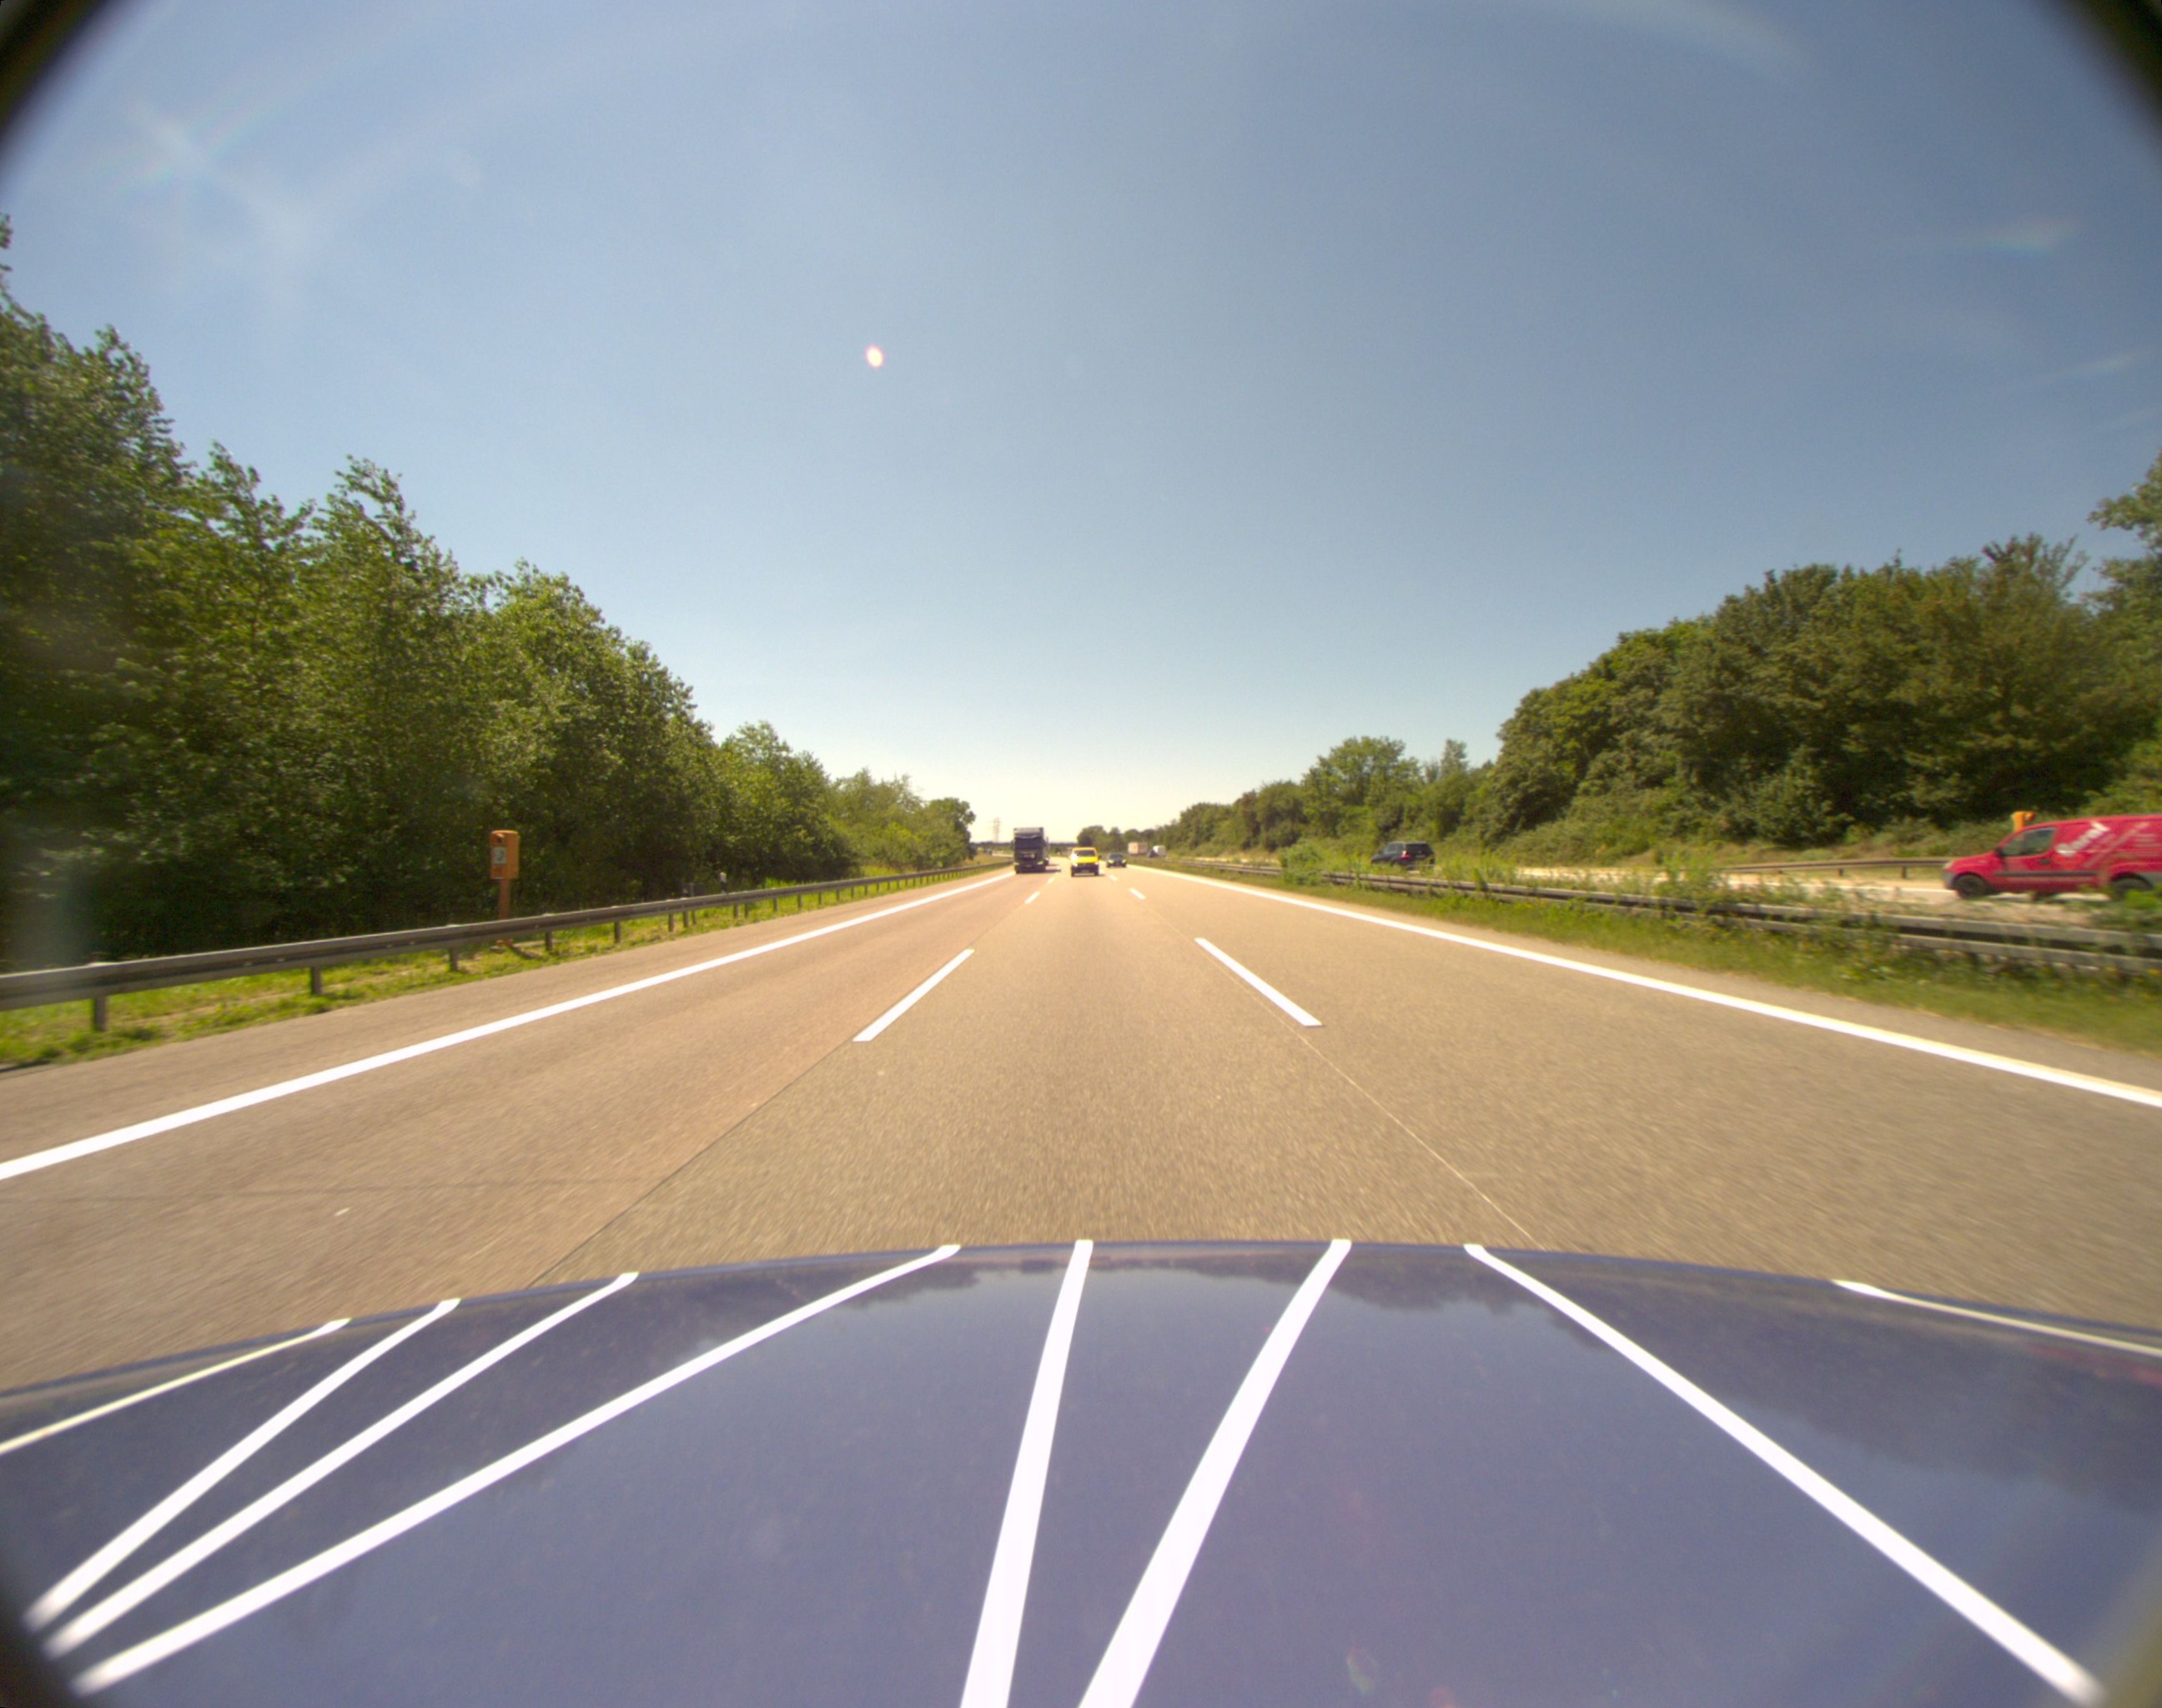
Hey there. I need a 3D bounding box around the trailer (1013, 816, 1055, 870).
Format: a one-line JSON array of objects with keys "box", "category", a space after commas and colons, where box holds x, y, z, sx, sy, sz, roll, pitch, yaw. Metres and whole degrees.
[{"box": [-4.327, -1.029, 73.353, 2.908, 4.630, 13.984, -2, 1, 0], "category": "trailer"}]

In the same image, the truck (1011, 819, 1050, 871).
[{"box": [-4.379, -0.773, 66.318, 2.915, 4.231, 4.974, -2, 1, 0], "category": "truck"}]

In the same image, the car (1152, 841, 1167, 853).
[{"box": [16.810, -1.551, 162.827, 2.235, 2.561, 7.390, 0, 0, -1], "category": "car"}]

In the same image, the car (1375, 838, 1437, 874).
[{"box": [17.298, 0.085, 40.619, 1.671, 1.744, 4.000, -2, 0, 2], "category": "car"}]

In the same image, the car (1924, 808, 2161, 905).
[{"box": [20.529, 0.005, 15.395, 1.708, 1.766, 4.767, -2, 0, 2], "category": "car"}]

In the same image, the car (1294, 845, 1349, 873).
[{"box": [13.924, 0.250, 44.251, 1.767, 1.504, 4.392, -2, 0, 0], "category": "car"}]

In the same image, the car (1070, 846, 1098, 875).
[{"box": [0.210, 0.421, 51.639, 1.776, 1.882, 3.832, 0, 1, 0], "category": "car"}]

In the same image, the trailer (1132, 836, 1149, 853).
[{"box": [15.305, -2.305, 195.691, 2.713, 4.160, 13.554, -1, 1, -2], "category": "trailer"}]

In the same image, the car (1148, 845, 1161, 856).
[{"box": [13.807, -0.634, 143.668, 1.831, 1.895, 4.955, -1, 0, -2], "category": "car"}]

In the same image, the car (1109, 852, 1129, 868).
[{"box": [3.801, 0.606, 76.299, 1.726, 1.478, 3.999, -1, 0, -1], "category": "car"}]

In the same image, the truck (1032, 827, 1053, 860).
[{"box": [-5.280, -1.368, 104.512, 2.608, 4.230, 5.088, -2, -1, -3], "category": "truck"}]
